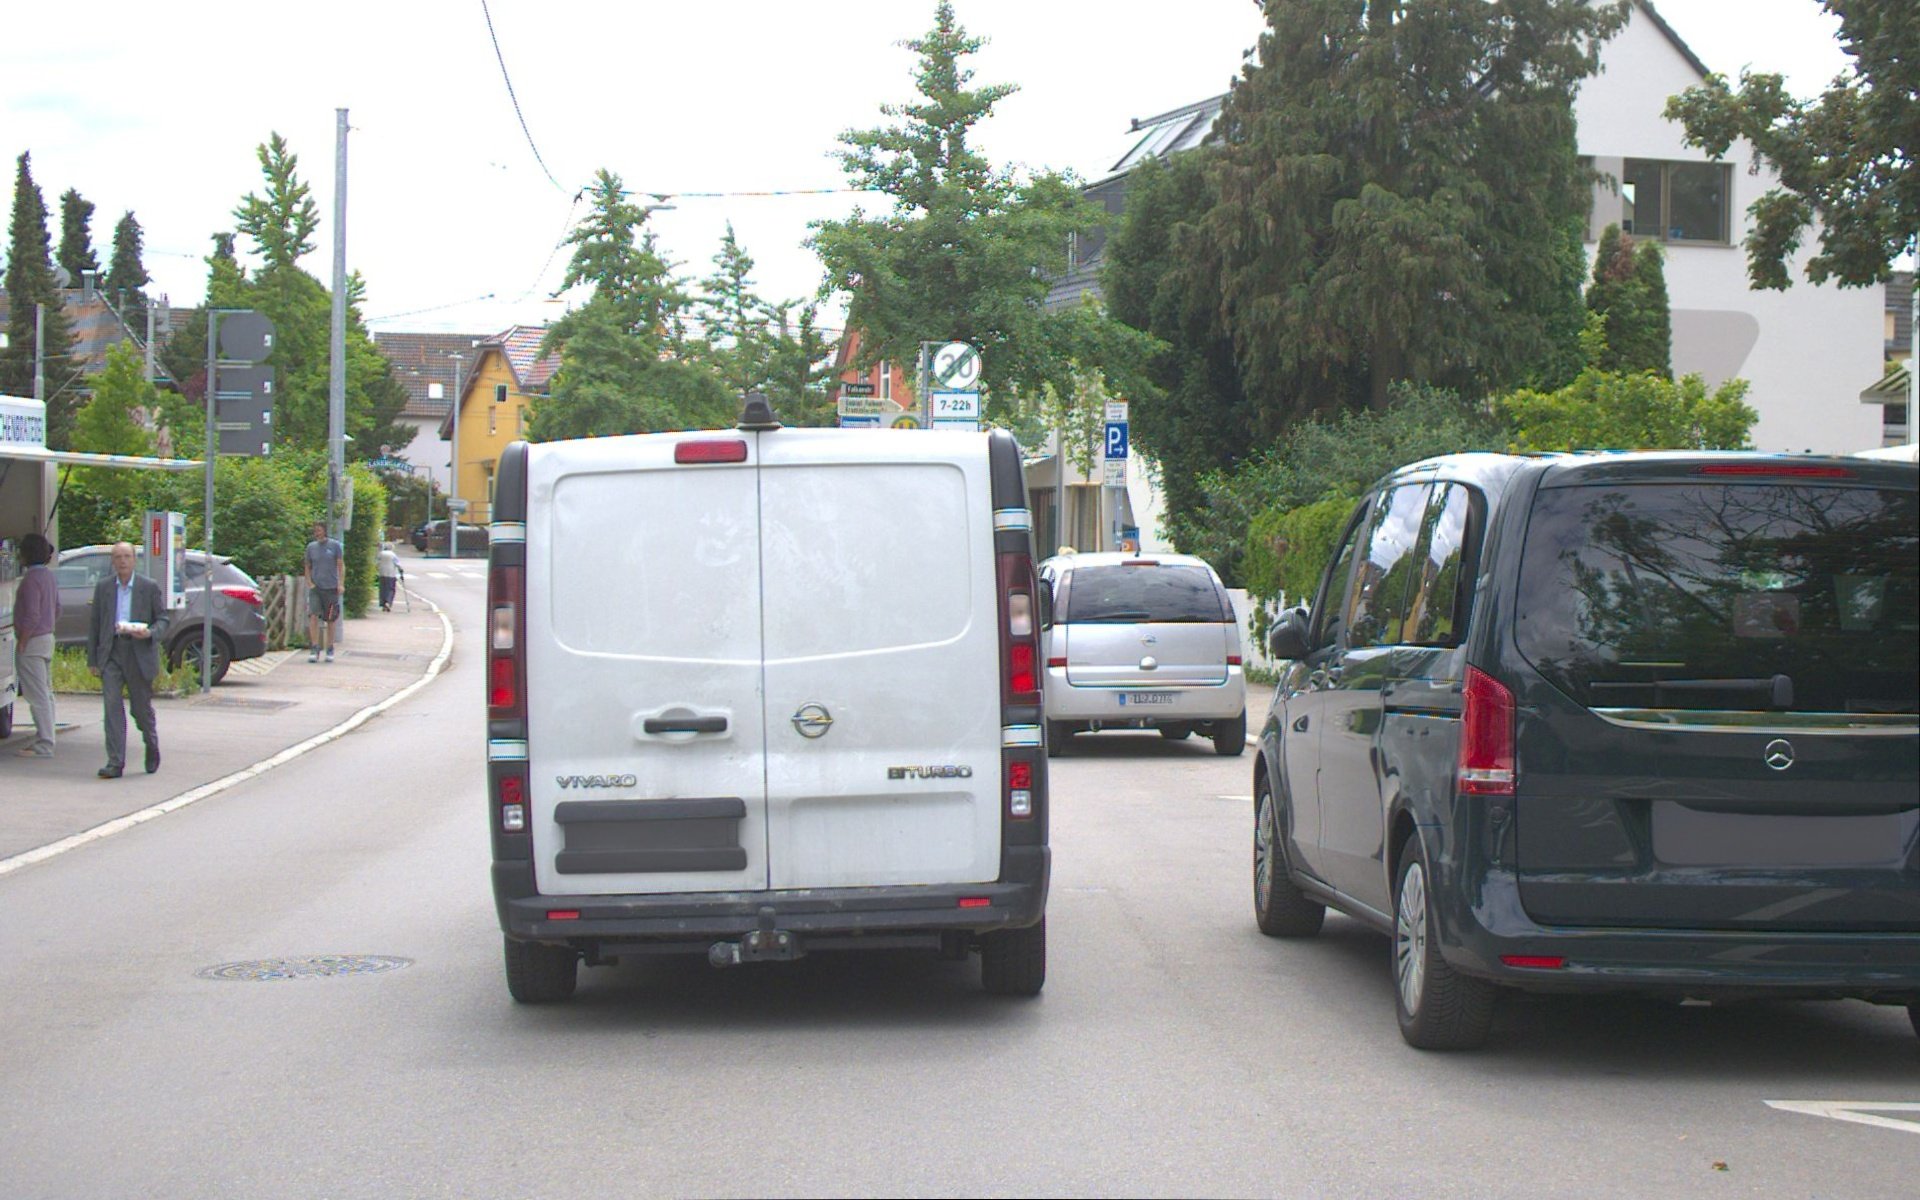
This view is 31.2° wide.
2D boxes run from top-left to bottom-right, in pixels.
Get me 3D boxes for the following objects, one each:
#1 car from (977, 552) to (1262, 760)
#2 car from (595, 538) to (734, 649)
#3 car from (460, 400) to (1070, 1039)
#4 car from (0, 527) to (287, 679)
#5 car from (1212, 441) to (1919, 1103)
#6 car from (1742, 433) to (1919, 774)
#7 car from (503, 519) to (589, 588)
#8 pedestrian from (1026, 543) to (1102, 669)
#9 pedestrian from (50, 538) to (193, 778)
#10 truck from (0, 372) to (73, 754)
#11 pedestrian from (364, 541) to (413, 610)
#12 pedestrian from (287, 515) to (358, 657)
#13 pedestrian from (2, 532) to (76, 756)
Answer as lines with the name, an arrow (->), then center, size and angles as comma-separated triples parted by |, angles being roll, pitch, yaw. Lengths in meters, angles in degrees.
car -> 1.240, 0.411, 28.396 | 1.759, 1.577, 4.019 | -1, 1, -6
car -> -5.129, -0.137, 59.262 | 1.993, 1.842, 4.001 | 0, 1, -11
car -> -0.770, 0.362, 13.028 | 1.915, 1.996, 4.438 | 0, 0, -4
car -> -10.620, 0.014, 42.421 | 4.310, 1.690, 1.798 | 3, 0, -17
car -> 2.165, 0.473, 12.271 | 1.909, 1.842, 5.158 | 1, 0, -2
car -> 8.681, 0.073, 27.582 | 2.496, 2.673, 5.188 | 3, 0, -14
car -> -11.022, -1.236, 91.249 | 1.993, 1.776, 4.001 | -1, 1, -11
pedestrian -> 1.394, 0.078, 46.348 | 0.854, 1.639, 0.884 | 3, 0, -5
pedestrian -> -6.089, 0.410, 25.016 | 0.722, 1.681, 1.109 | 3, 0, -2
truck -> -8.432, -0.292, 26.036 | 2.472, 2.831, 6.709 | 1, 0, -7
pedestrian -> -12.506, -0.534, 75.212 | 0.876, 1.480, 0.455 | 3, 0, -30
pedestrian -> -8.969, -0.193, 48.400 | 0.733, 1.939, 1.217 | 3, 0, -2
pedestrian -> -7.104, 0.331, 26.518 | 0.401, 1.689, 0.597 | 3, 0, -8
